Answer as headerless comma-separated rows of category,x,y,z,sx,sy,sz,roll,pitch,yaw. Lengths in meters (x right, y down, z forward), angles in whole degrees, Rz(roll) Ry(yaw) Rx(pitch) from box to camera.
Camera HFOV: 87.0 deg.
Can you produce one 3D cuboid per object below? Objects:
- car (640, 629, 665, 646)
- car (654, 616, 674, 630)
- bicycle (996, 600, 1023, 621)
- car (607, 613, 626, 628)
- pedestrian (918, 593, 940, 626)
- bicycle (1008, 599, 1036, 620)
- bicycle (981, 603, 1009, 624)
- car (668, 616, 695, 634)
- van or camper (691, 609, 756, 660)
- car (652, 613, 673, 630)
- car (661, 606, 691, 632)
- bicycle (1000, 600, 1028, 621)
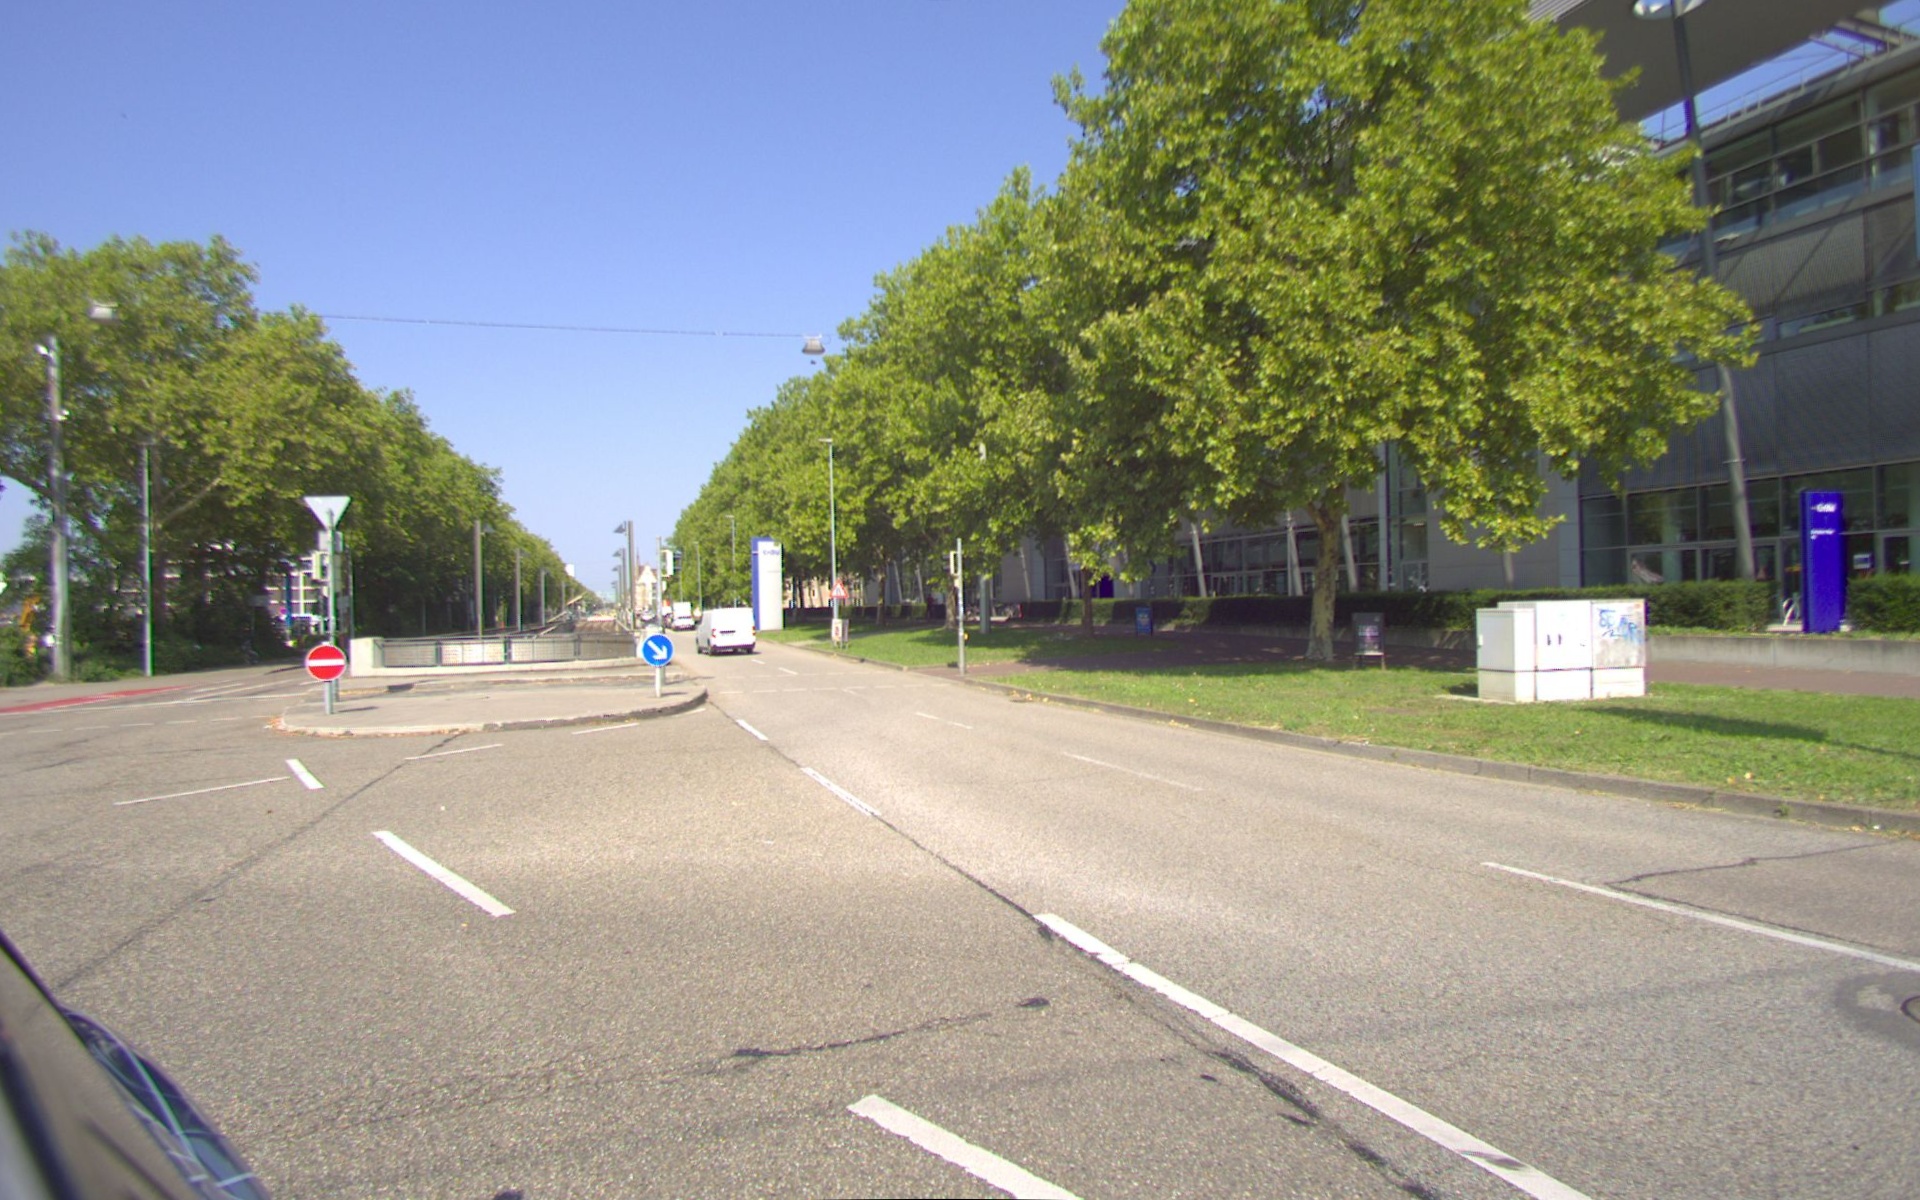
car,-26.437,3.208,87.014,1.633,1.230,3.907,-4,0,-22
car,-35.733,2.795,122.040,1.966,1.464,4.013,-4,0,-20
bicycle,4.057,0.885,83.135,2.133,1.566,0.602,-4,0,-26
car,-49.436,2.927,145.643,1.966,2.028,4.013,-4,0,-25
pedestrian,-2.020,0.633,65.256,0.933,2.028,1.353,-4,0,-18
bicycle,4.988,0.768,81.518,2.133,1.566,0.602,-4,0,-26
bicycle,2.900,1.148,83.781,2.133,1.566,0.602,-4,0,-26
car,-25.314,2.239,91.964,1.966,1.464,4.013,-4,0,-20
van or camper,-9.927,1.416,42.146,1.815,1.962,4.964,-1,-1,-23
car,-39.244,2.799,133.319,2.254,2.095,4.671,-4,0,-20
car,-27.132,1.846,96.594,2.254,2.249,4.671,-4,0,-20
bicycle,4.383,0.855,82.530,2.133,1.566,0.602,-4,0,-26
